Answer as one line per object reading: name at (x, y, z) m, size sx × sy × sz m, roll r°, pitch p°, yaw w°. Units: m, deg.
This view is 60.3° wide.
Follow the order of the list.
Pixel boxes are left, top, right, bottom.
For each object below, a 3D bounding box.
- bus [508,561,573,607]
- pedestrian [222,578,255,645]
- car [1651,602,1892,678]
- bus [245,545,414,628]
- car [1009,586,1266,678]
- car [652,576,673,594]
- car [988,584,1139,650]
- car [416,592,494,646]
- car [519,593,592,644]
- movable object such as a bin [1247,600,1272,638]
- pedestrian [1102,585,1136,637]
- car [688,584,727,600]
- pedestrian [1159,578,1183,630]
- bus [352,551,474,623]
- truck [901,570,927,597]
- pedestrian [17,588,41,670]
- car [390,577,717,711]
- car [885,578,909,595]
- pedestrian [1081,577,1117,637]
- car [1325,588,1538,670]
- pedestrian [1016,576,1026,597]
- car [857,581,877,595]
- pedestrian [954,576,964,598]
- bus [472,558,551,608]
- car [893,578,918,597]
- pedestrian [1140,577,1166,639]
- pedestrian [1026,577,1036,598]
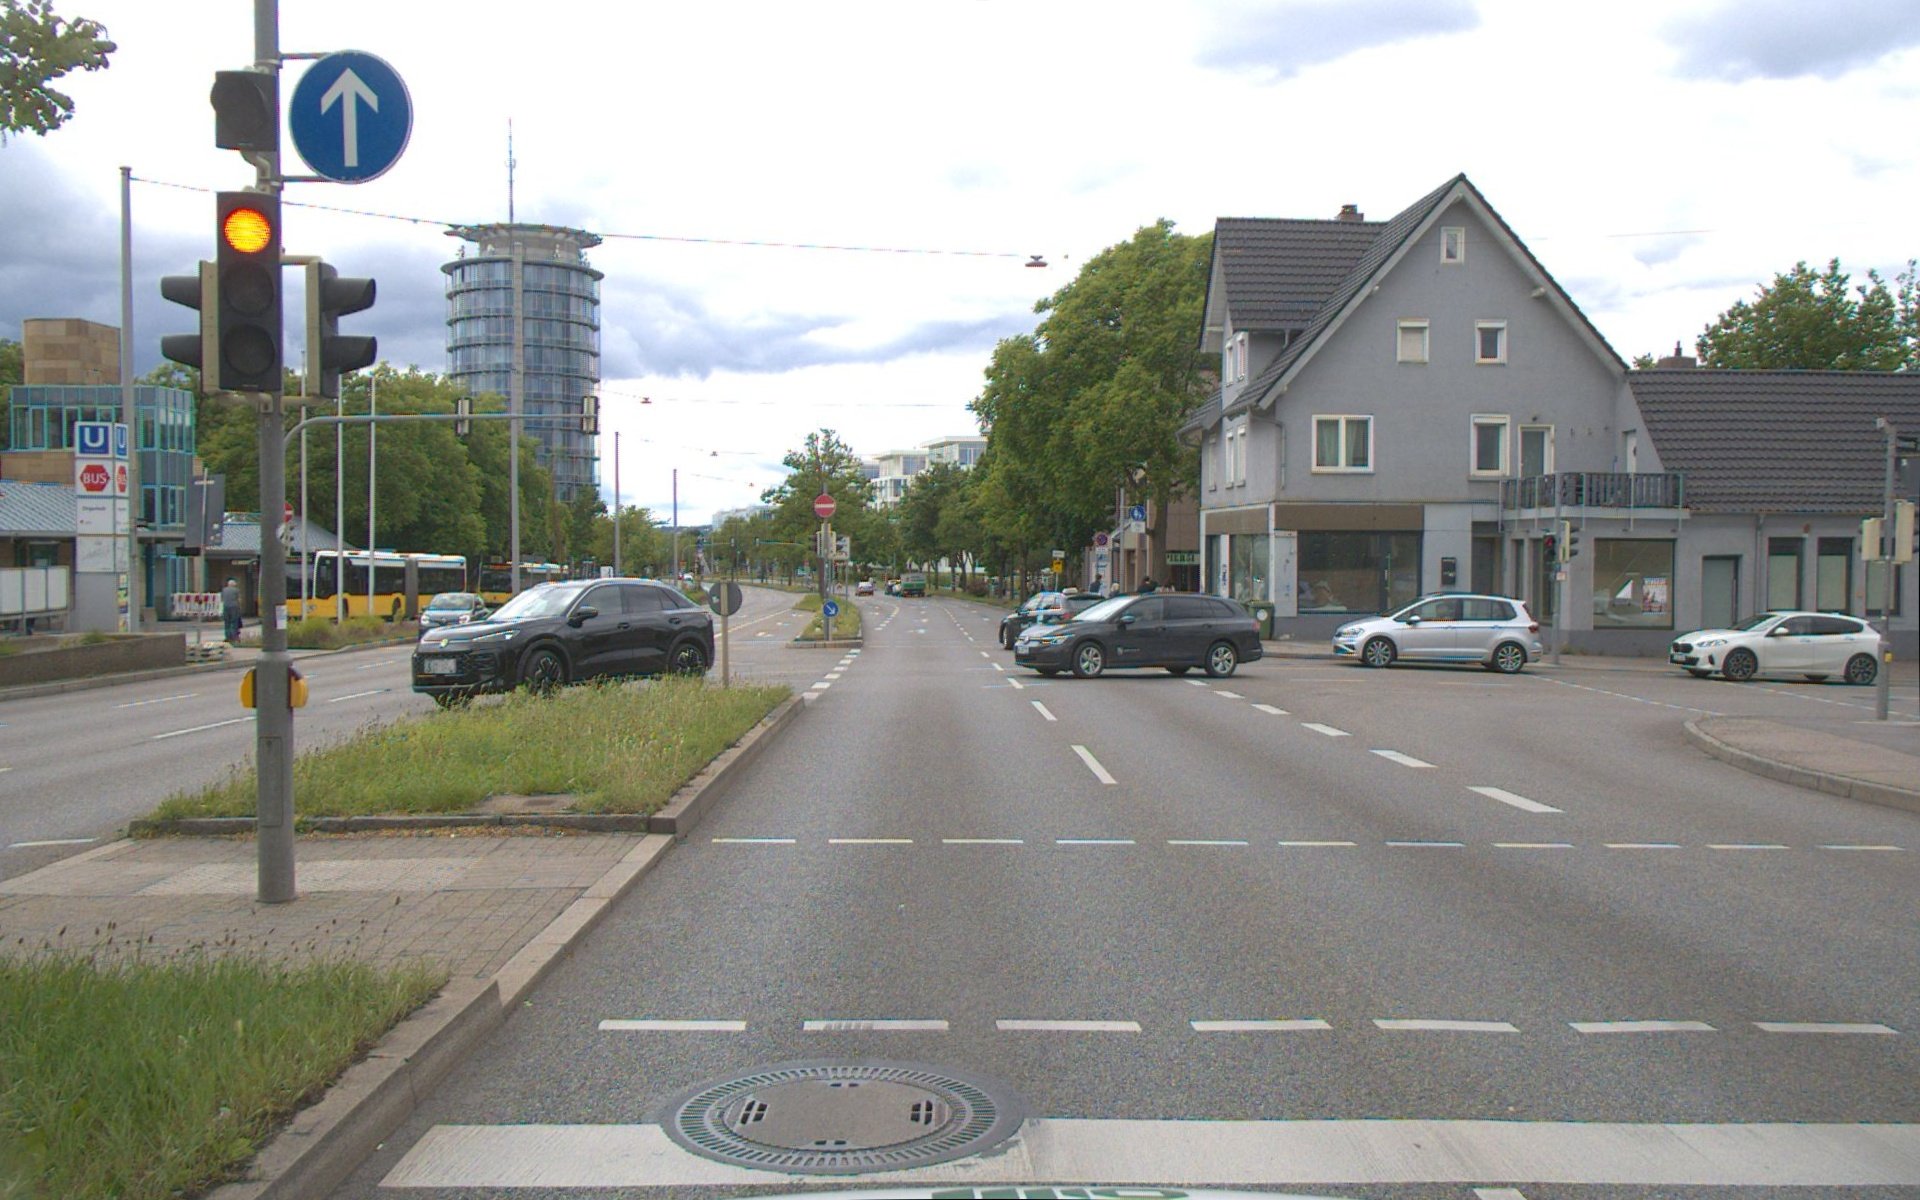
bus at (-31.153, -1.141, 123.008) m, size 3.081 × 3.281 × 7.762 m, roll 0°, pitch 0°, yaw -2°
pedestrian at (-20.839, 0.334, 47.771) m, size 0.647 × 1.930 × 0.685 m, roll 0°, pitch 0°, yaw -1°
car at (17.217, 0.835, 35.207) m, size 4.157 × 1.503 × 1.999 m, roll 1°, pitch 0°, yaw -3°
bus at (-27.085, -0.567, 71.691) m, size 2.927 × 3.307 × 10.174 m, roll -1°, pitch 0°, yaw 3°
car at (3.127, 0.541, 29.190) m, size 4.213 × 1.506 × 1.704 m, roll 1°, pitch 1°, yaw -22°
car at (-35.918, -1.842, 199.739) m, size 1.925 × 2.049 × 3.999 m, roll 1°, pitch 0°, yaw -1°
car at (2.476, 0.390, 40.527) m, size 1.867 × 1.521 × 4.061 m, roll -1°, pitch 0°, yaw -28°
car at (-15.475, 0.559, 50.813) m, size 1.652 × 1.606 × 3.344 m, roll 0°, pitch 0°, yaw -6°
car at (-12.366, 0.544, 50.725) m, size 1.651 × 1.488 × 3.552 m, roll 0°, pitch 0°, yaw -5°
movable object such as a bin at (7.997, 0.491, 44.163) m, size 0.518 × 0.997 × 0.736 m, roll 0°, pitch 0°, yaw -1°
pedestrian at (4.738, 0.318, 49.215) m, size 0.851 × 1.533 × 0.706 m, roll 0°, pitch 0°, yaw -10°
car at (-25.164, -0.788, 164.704) m, size 3.478 × 1.518 × 1.707 m, roll 0°, pitch 0°, yaw 23°
pedestrian at (6.930, 0.124, 54.408) m, size 0.690 × 1.691 × 0.871 m, roll 0°, pitch 0°, yaw 13°
bus at (-26.549, -0.620, 80.716) m, size 2.927 × 3.327 × 7.879 m, roll -1°, pitch 0°, yaw 3°
truck at (-4.356, -1.545, 156.426) m, size 2.207 × 2.459 × 4.927 m, roll 0°, pitch 0°, yaw -5°
pedestrian at (-18.485, 0.575, 32.834) m, size 0.414 × 1.619 × 0.353 m, roll 0°, pitch 0°, yaw -30°
car at (-5.106, 0.486, 21.297) m, size 1.801 × 1.547 × 4.064 m, roll 0°, pitch 1°, yaw 30°
car at (-6.611, -1.400, 173.780) m, size 2.207 × 1.676 × 4.927 m, roll 0°, pitch 0°, yaw -6°
pedestrian at (4.205, 0.204, 50.015) m, size 0.863 × 1.811 × 0.696 m, roll 0°, pitch 0°, yaw -43°
car at (9.866, 0.581, 34.879) m, size 4.014 × 1.567 × 1.830 m, roll 2°, pitch 0°, yaw 5°
pedestrian at (4.627, -0.996, 125.473) m, size 0.638 × 1.597 × 0.669 m, roll 0°, pitch 0°, yaw -9°
car at (-9.729, -1.270, 173.022) m, size 1.929 × 1.444 × 4.017 m, roll 0°, pitch 0°, yaw -6°
pedestrian at (-0.126, -1.431, 180.120) m, size 0.914 × 2.349 × 1.008 m, roll 1°, pitch -1°, yaw -10°
bus at (-30.790, -1.126, 114.010) m, size 3.082 × 3.281 × 10.279 m, roll 0°, pitch 0°, yaw -3°
car at (-5.410, -1.253, 165.002) m, size 2.207 × 1.787 × 4.927 m, roll 0°, pitch 0°, yaw -5°
pedestrian at (5.639, 0.217, 48.463) m, size 0.690 × 1.791 × 1.053 m, roll 0°, pitch 0°, yaw 4°
pedestrian at (5.394, -0.935, 125.350) m, size 0.638 × 1.597 × 0.669 m, roll 0°, pitch 0°, yaw -9°
